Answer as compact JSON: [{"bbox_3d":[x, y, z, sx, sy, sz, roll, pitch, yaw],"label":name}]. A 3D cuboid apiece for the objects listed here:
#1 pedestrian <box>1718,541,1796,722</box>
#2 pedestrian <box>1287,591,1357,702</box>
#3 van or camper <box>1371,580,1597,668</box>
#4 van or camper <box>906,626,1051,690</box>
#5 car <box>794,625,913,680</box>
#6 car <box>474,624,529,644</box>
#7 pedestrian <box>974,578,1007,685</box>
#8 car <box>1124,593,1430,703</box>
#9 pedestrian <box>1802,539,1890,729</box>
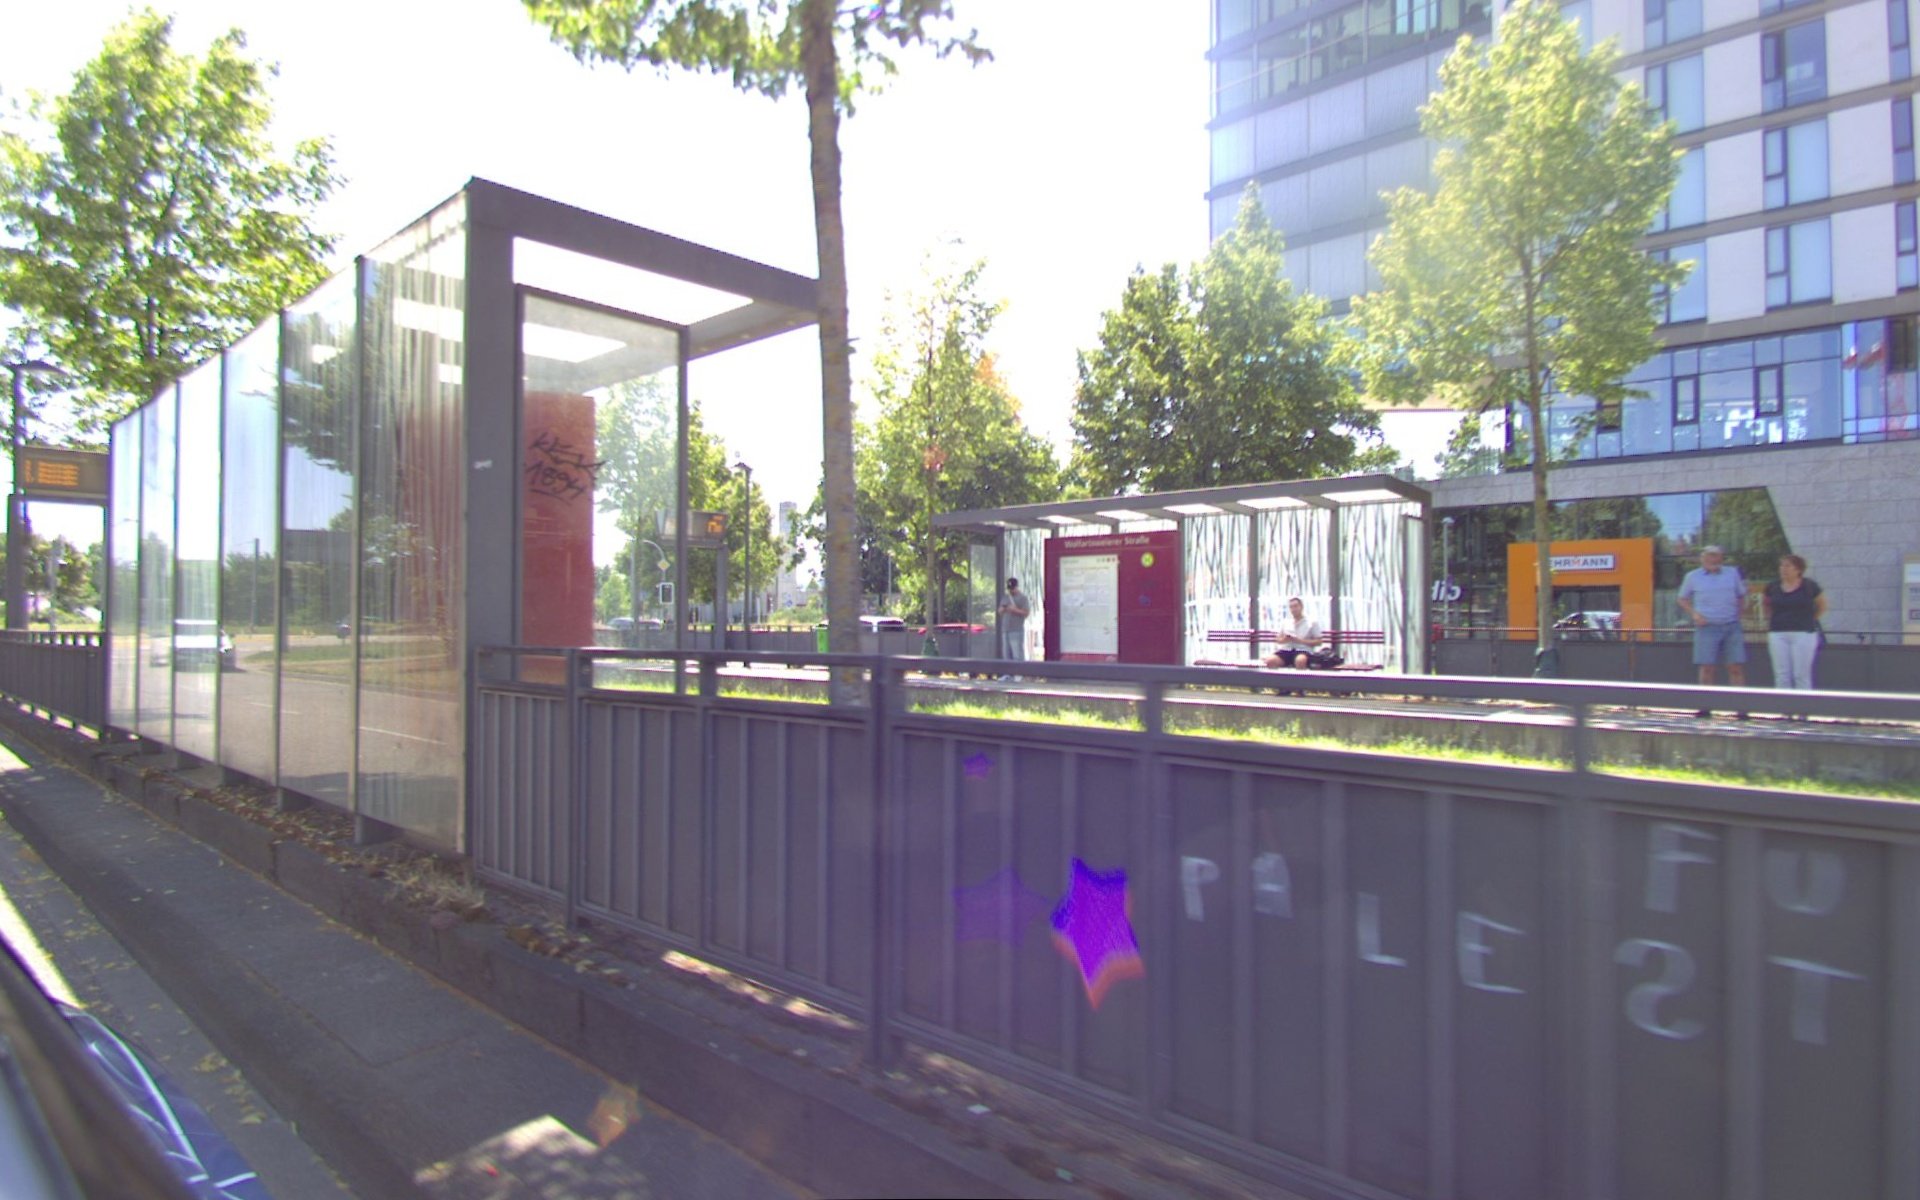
[{"bbox_3d":[8.059,0.314,10.246,0.585,1.765,0.405,-1,-2,38],"label":"pedestrian"},{"bbox_3d":[4.841,0.611,13.522,0.642,1.424,0.826,-1,-1,40],"label":"pedestrian"},{"bbox_3d":[18.397,0.822,35.773,6.779,2.844,2.352,-1,-1,39],"label":"van or camper"},{"bbox_3d":[0.409,1.364,24.684,3.427,1.438,1.460,-1,-1,41],"label":"van or camper"},{"bbox_3d":[-3.442,1.626,32.315,3.960,1.628,1.554,-1,-2,42],"label":"car"},{"bbox_3d":[-37.679,2.800,83.177,5.835,1.529,1.972,-1,-1,42],"label":"car"},{"bbox_3d":[0.514,0.524,16.904,0.473,1.752,0.465,0,-1,12],"label":"pedestrian"},{"bbox_3d":[5.960,0.838,19.350,5.066,1.819,2.437,-1,-2,40],"label":"car"},{"bbox_3d":[8.551,0.321,9.785,0.585,1.765,0.405,-1,-2,38],"label":"pedestrian"}]
